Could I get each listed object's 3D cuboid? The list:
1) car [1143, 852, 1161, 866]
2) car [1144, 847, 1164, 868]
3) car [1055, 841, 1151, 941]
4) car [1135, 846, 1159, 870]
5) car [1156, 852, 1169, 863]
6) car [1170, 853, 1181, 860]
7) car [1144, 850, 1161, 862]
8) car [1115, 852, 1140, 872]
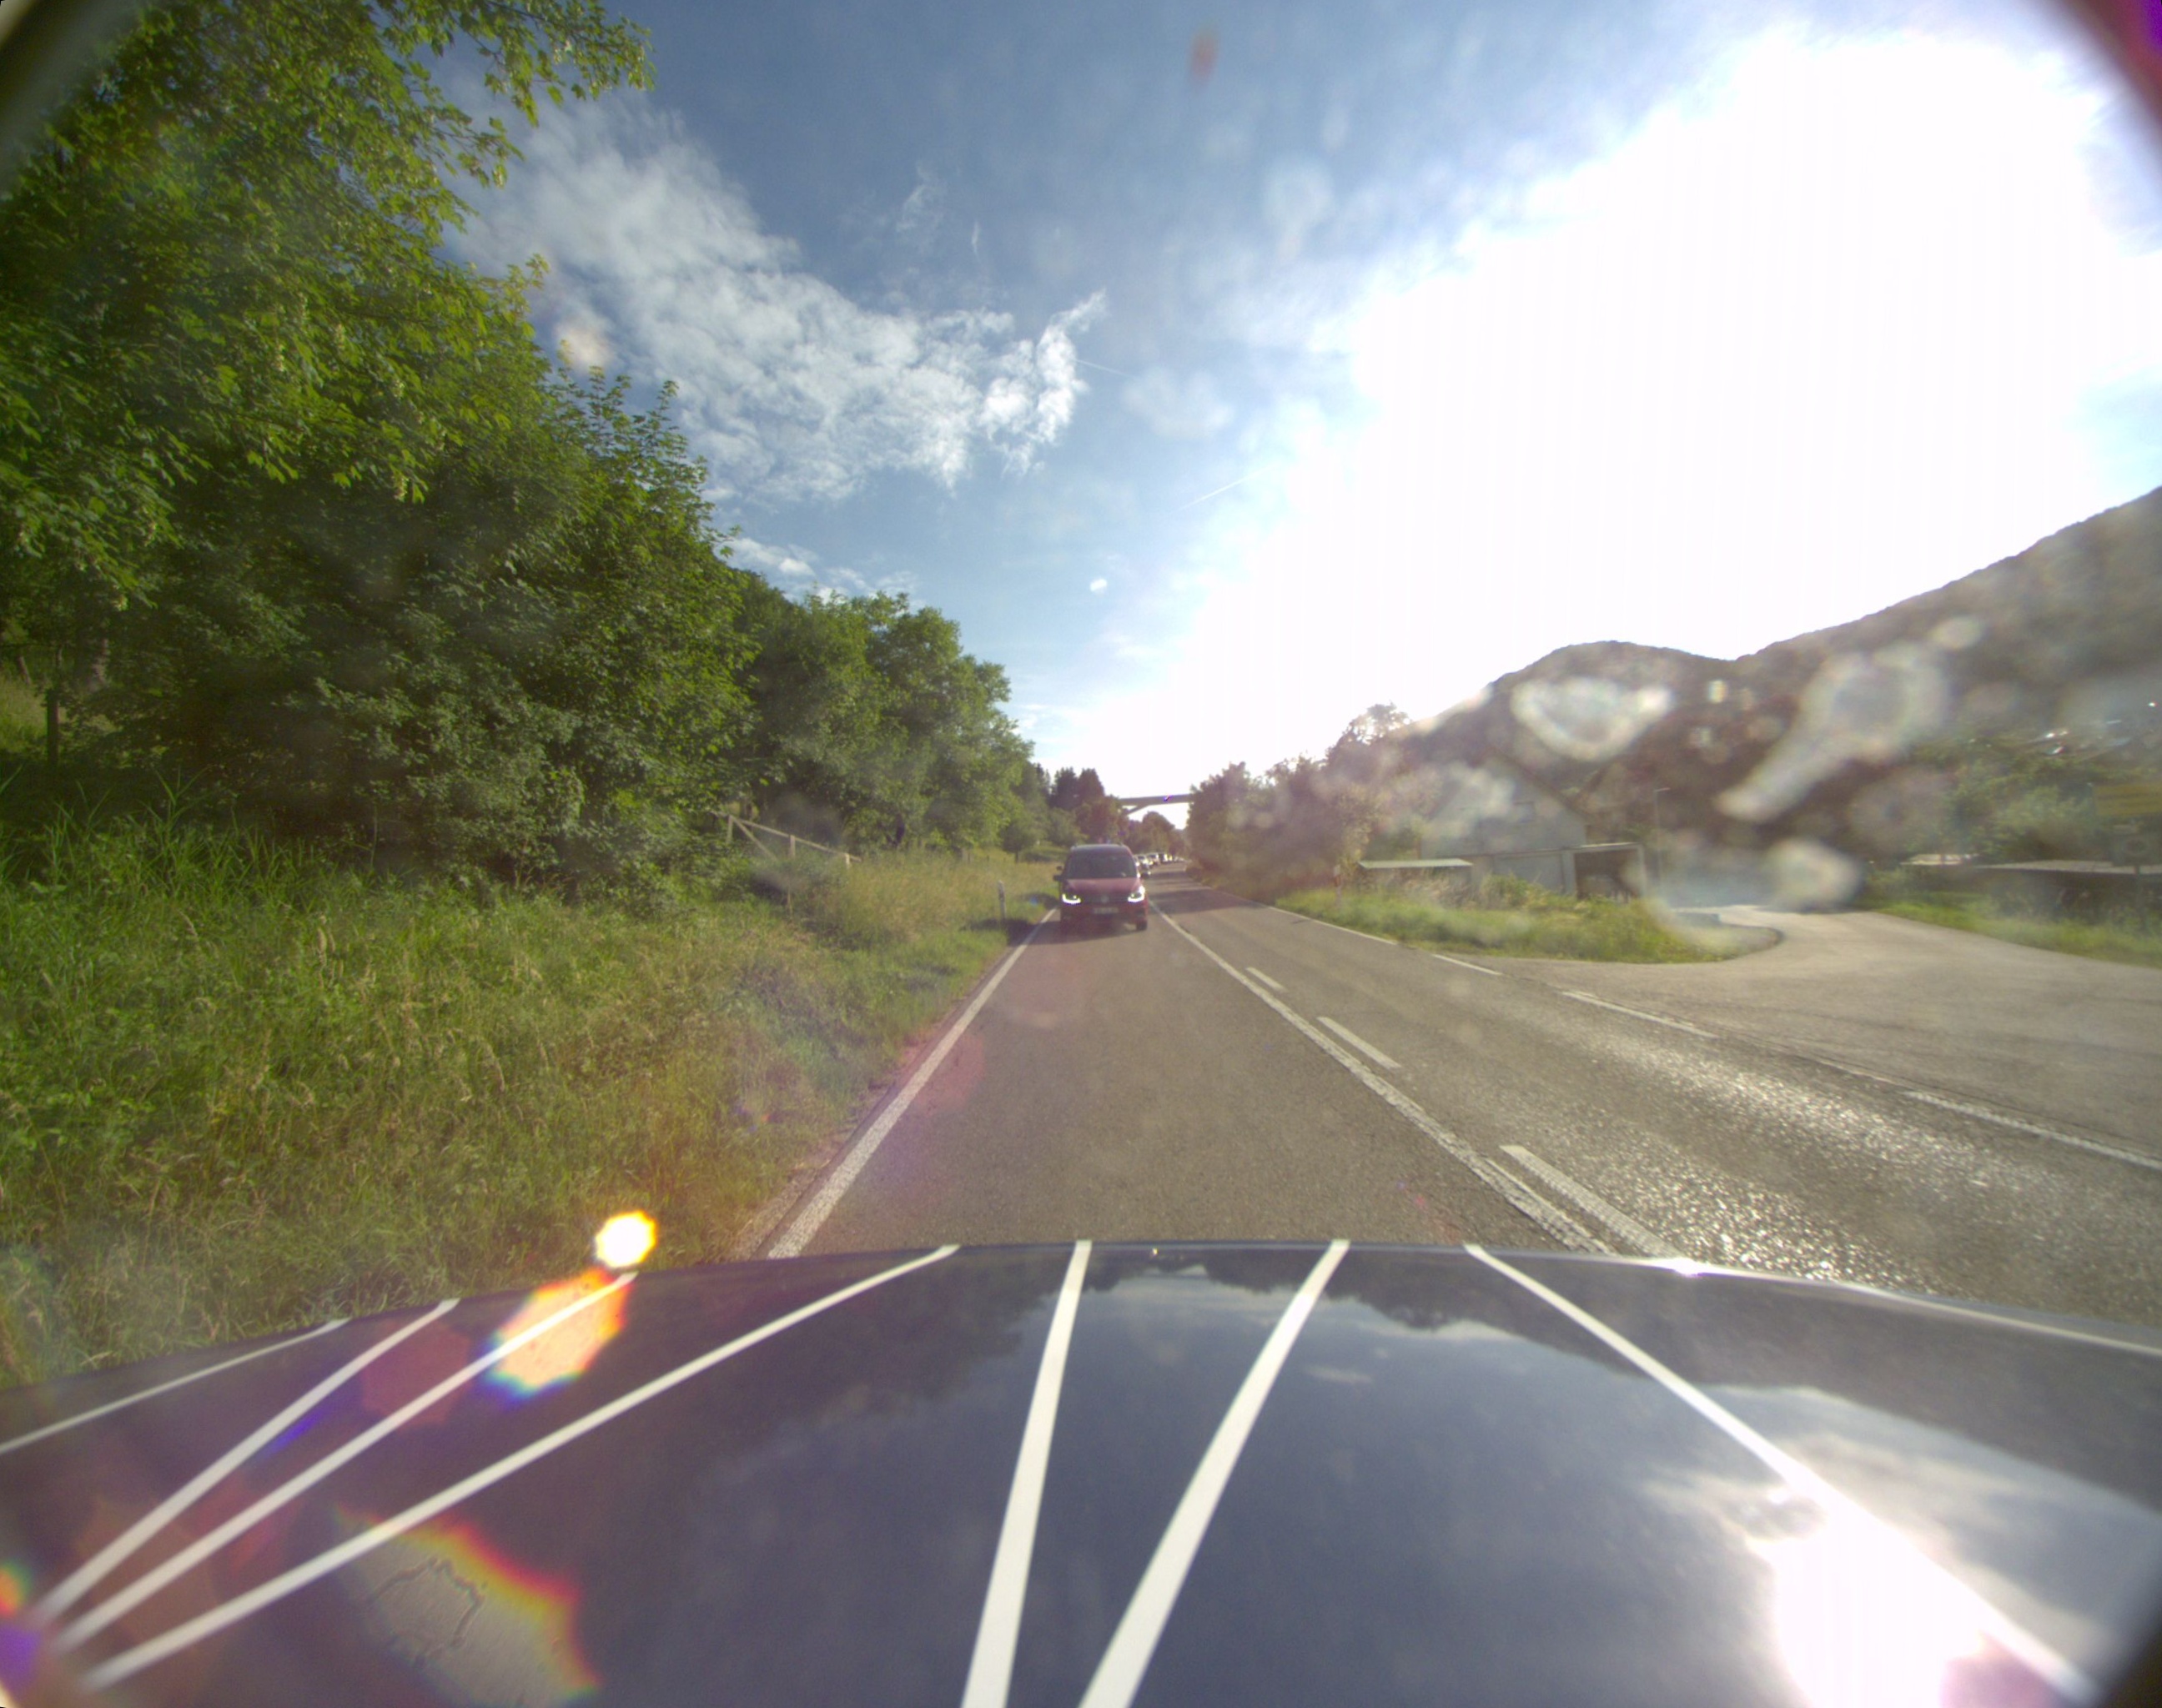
[{"bbox_3d":[7.985,0.517,85.441,1.840,1.543,4.180,1,0,7],"label":"car"},{"bbox_3d":[7.383,0.336,76.832,1.914,2.002,4.002,-1,0,7],"label":"car"},{"bbox_3d":[0.477,0.691,16.404,1.772,1.855,3.875,-2,0,2],"label":"car"},{"bbox_3d":[5.858,0.338,67.368,1.914,2.002,4.002,-1,0,8],"label":"car"},{"bbox_3d":[12.564,0.555,116.573,1.817,1.608,4.003,-1,0,9],"label":"car"},{"bbox_3d":[20.731,0.490,166.499,1.840,1.543,4.181,-1,0,13],"label":"car"},{"bbox_3d":[9.565,0.225,101.393,1.817,1.608,4.003,-1,0,10],"label":"car"},{"bbox_3d":[3.736,0.597,60.170,1.841,1.543,4.179,-1,0,5],"label":"car"}]
